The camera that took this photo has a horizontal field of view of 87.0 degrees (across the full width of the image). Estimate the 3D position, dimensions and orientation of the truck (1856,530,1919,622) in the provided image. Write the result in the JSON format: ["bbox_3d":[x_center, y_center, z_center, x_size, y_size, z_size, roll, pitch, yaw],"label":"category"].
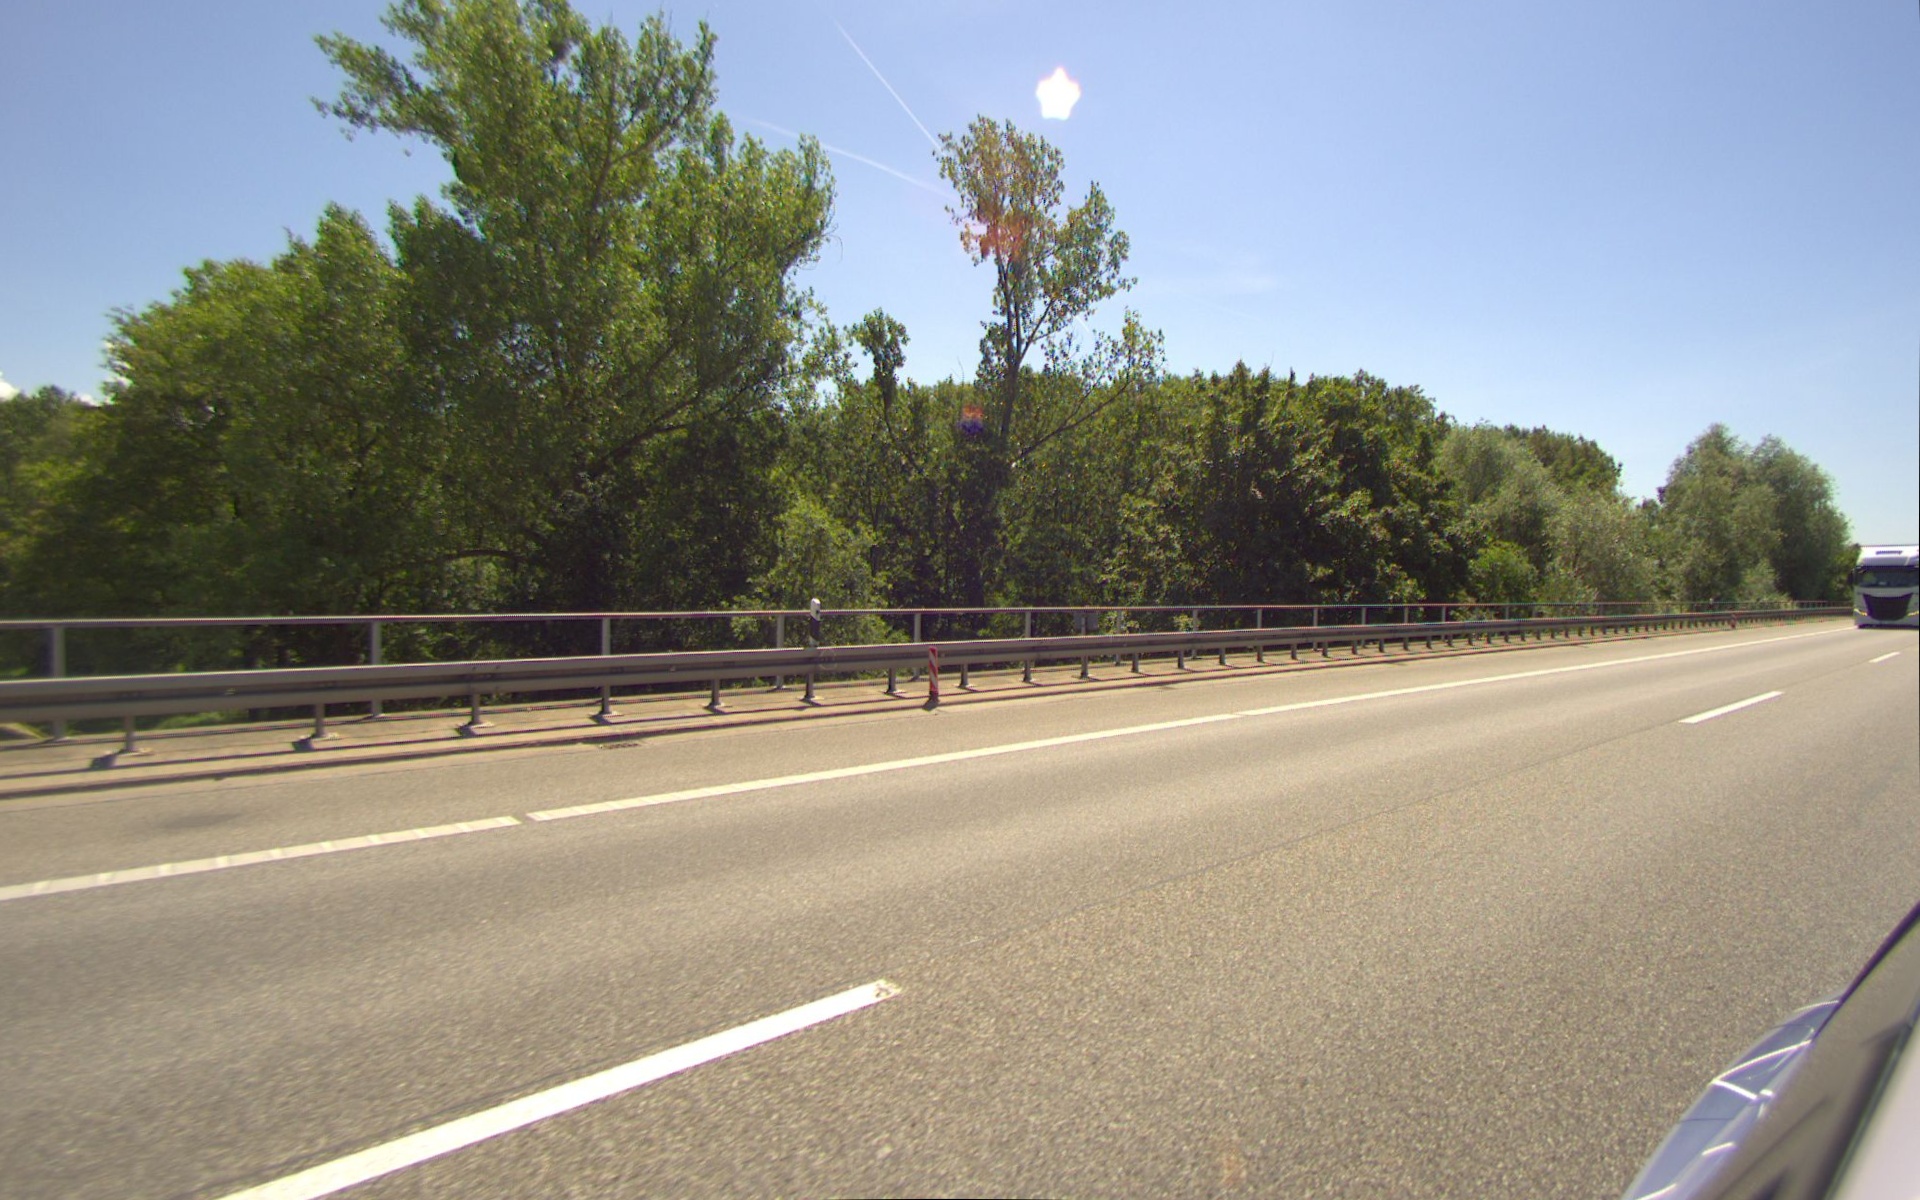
[{"bbox_3d":[47.318,-1.134,50.545,10.270,4.216,2.816,0,0,-43],"label":"truck"}]
